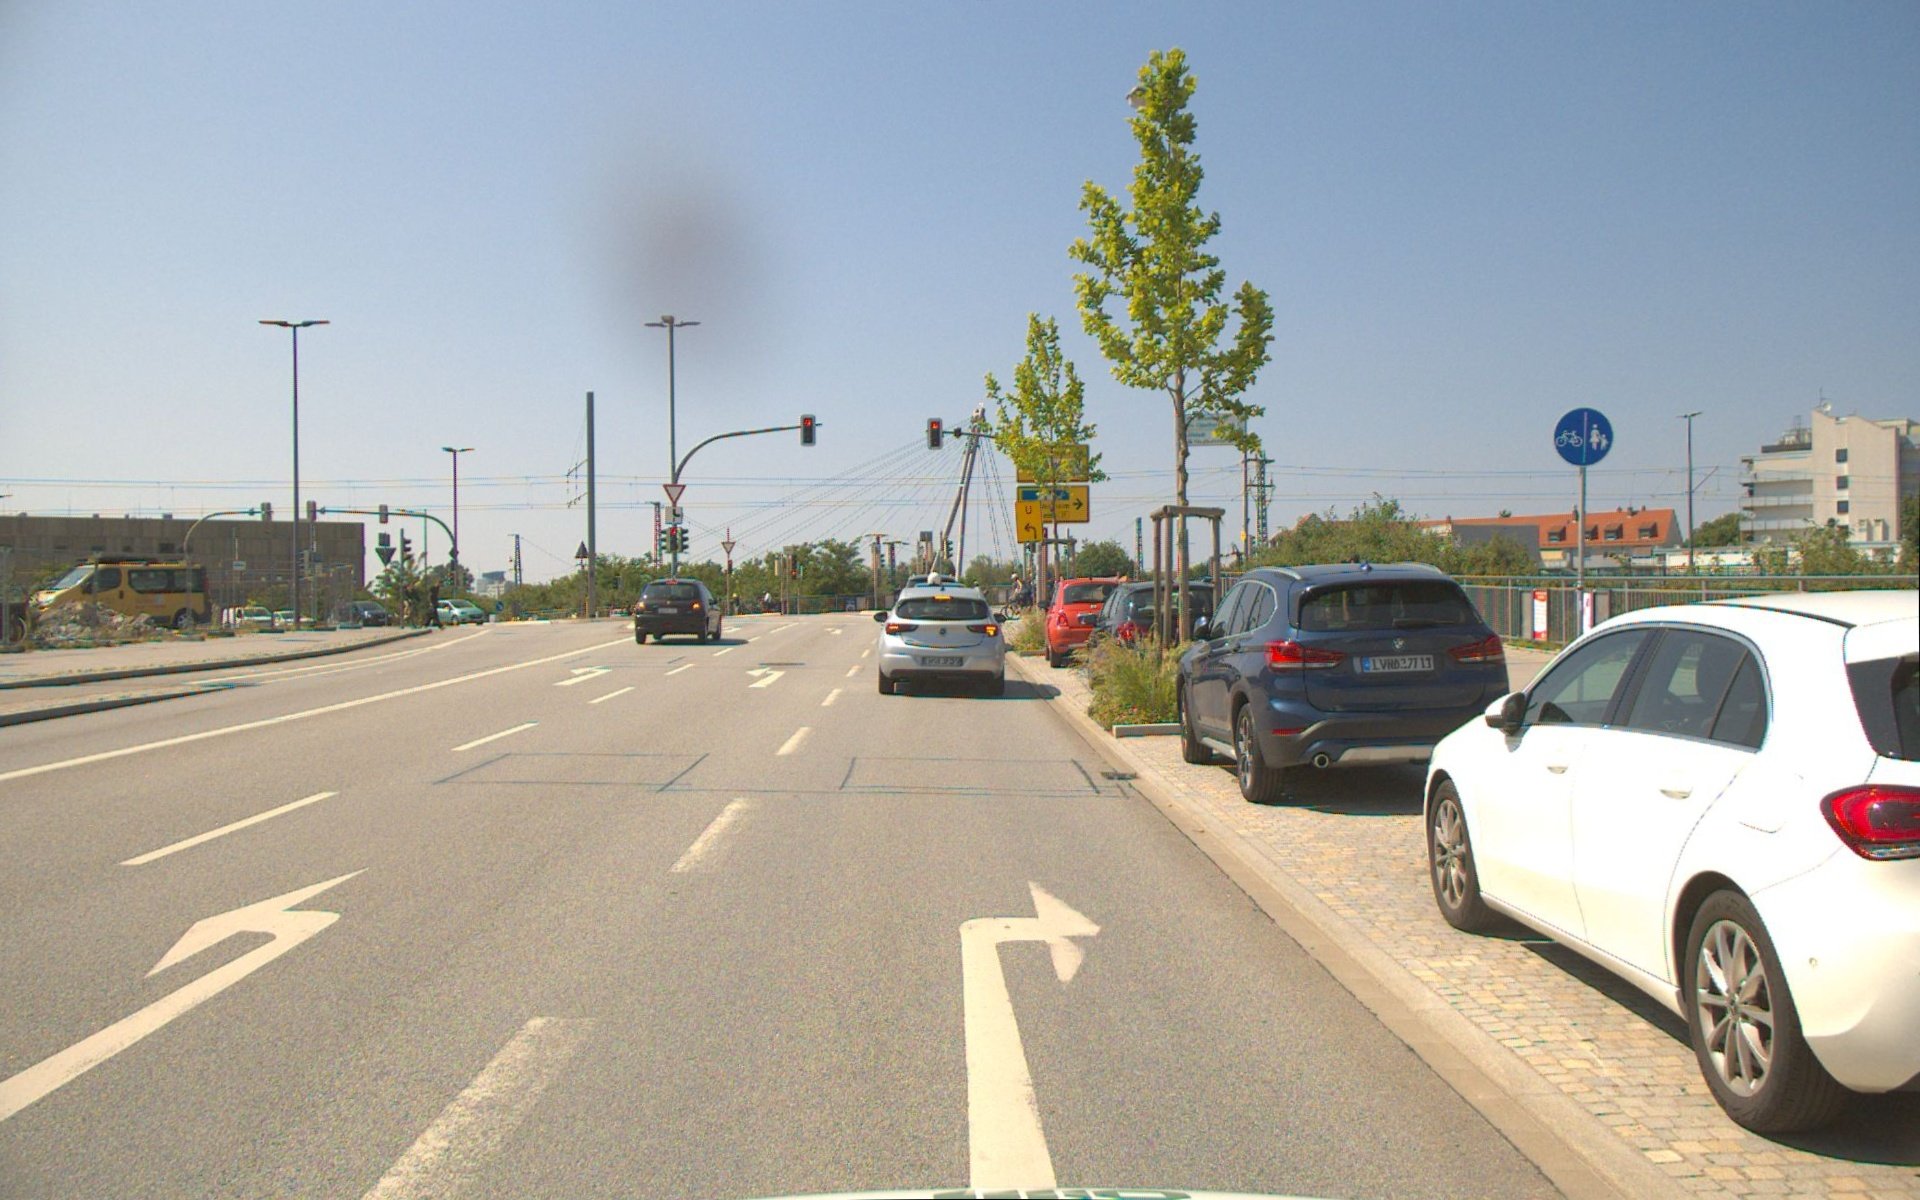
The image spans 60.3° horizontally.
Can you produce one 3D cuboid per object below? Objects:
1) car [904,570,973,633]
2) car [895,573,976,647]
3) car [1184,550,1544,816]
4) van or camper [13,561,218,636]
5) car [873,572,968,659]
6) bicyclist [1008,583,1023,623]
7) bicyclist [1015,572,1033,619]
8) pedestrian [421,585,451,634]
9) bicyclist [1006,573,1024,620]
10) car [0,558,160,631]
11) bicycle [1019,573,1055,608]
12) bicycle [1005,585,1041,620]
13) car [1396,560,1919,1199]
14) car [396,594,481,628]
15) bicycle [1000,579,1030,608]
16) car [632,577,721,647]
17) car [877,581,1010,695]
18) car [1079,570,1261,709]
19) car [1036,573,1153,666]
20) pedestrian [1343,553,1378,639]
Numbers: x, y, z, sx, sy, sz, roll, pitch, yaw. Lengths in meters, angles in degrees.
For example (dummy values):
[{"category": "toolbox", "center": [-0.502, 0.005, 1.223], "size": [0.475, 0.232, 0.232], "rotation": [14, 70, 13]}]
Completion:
[{"category": "car", "center": [-0.589, 0.014, 44.523], "size": [1.742, 1.596, 3.999], "rotation": [-1, 1, -1]}, {"category": "car", "center": [-0.568, 0.189, 38.101], "size": [1.742, 1.596, 3.999], "rotation": [-1, 1, -1]}, {"category": "car", "center": [2.849, 0.518, 12.461], "size": [1.785, 1.645, 3.611], "rotation": [-2, 0, 0]}, {"category": "van or camper", "center": [-23.423, 0.015, 45.994], "size": [1.964, 1.930, 4.689], "rotation": [-1, -2, 41]}, {"category": "car", "center": [-0.771, 0.258, 32.675], "size": [1.742, 1.596, 3.999], "rotation": [-1, 1, -1]}, {"category": "bicyclist", "center": [2.361, 0.146, 69.755], "size": [0.581, 1.673, 0.312], "rotation": [1, -2, -7]}, {"category": "bicyclist", "center": [2.261, -0.150, 58.765], "size": [0.581, 1.673, 0.312], "rotation": [1, -2, -7]}, {"category": "pedestrian", "center": [-18.306, 0.331, 57.782], "size": [0.828, 1.675, 0.827], "rotation": [0, 0, -6]}, {"category": "bicyclist", "center": [1.973, -0.134, 59.487], "size": [0.581, 1.673, 0.312], "rotation": [1, -2, -7]}, {"category": "car", "center": [-25.999, -0.167, 48.688], "size": [1.961, 2.049, 3.983], "rotation": [0, 0, 37]}, {"category": "bicycle", "center": [2.743, -0.321, 58.873], "size": [1.216, 1.218, 0.481], "rotation": [1, -2, -7]}, {"category": "bicycle", "center": [2.261, 0.091, 59.561], "size": [1.216, 1.218, 0.481], "rotation": [1, -2, -7]}, {"category": "car", "center": [2.989, 0.627, 5.954], "size": [1.662, 1.501, 4.205], "rotation": [-2, 0, 0]}, {"category": "car", "center": [-28.546, 0.600, 90.586], "size": [3.902, 1.803, 2.001], "rotation": [0, -2, 12]}, {"category": "bicycle", "center": [2.309, -0.278, 69.790], "size": [1.216, 1.218, 0.481], "rotation": [1, -2, -7]}, {"category": "car", "center": [-6.509, 0.247, 38.290], "size": [1.587, 1.440, 3.725], "rotation": [-2, 2, -3]}, {"category": "car", "center": [-0.245, 0.482, 23.867], "size": [1.742, 1.467, 3.999], "rotation": [-1, 1, -1]}, {"category": "car", "center": [2.693, 0.476, 22.076], "size": [1.742, 1.529, 3.999], "rotation": [-5, 0, -1]}, {"category": "car", "center": [2.401, 0.332, 30.381], "size": [1.742, 1.530, 3.999], "rotation": [-2, 0, -1]}, {"category": "pedestrian", "center": [7.587, -0.074, 31.327], "size": [0.522, 1.603, 0.523], "rotation": [1, -2, -1]}]
